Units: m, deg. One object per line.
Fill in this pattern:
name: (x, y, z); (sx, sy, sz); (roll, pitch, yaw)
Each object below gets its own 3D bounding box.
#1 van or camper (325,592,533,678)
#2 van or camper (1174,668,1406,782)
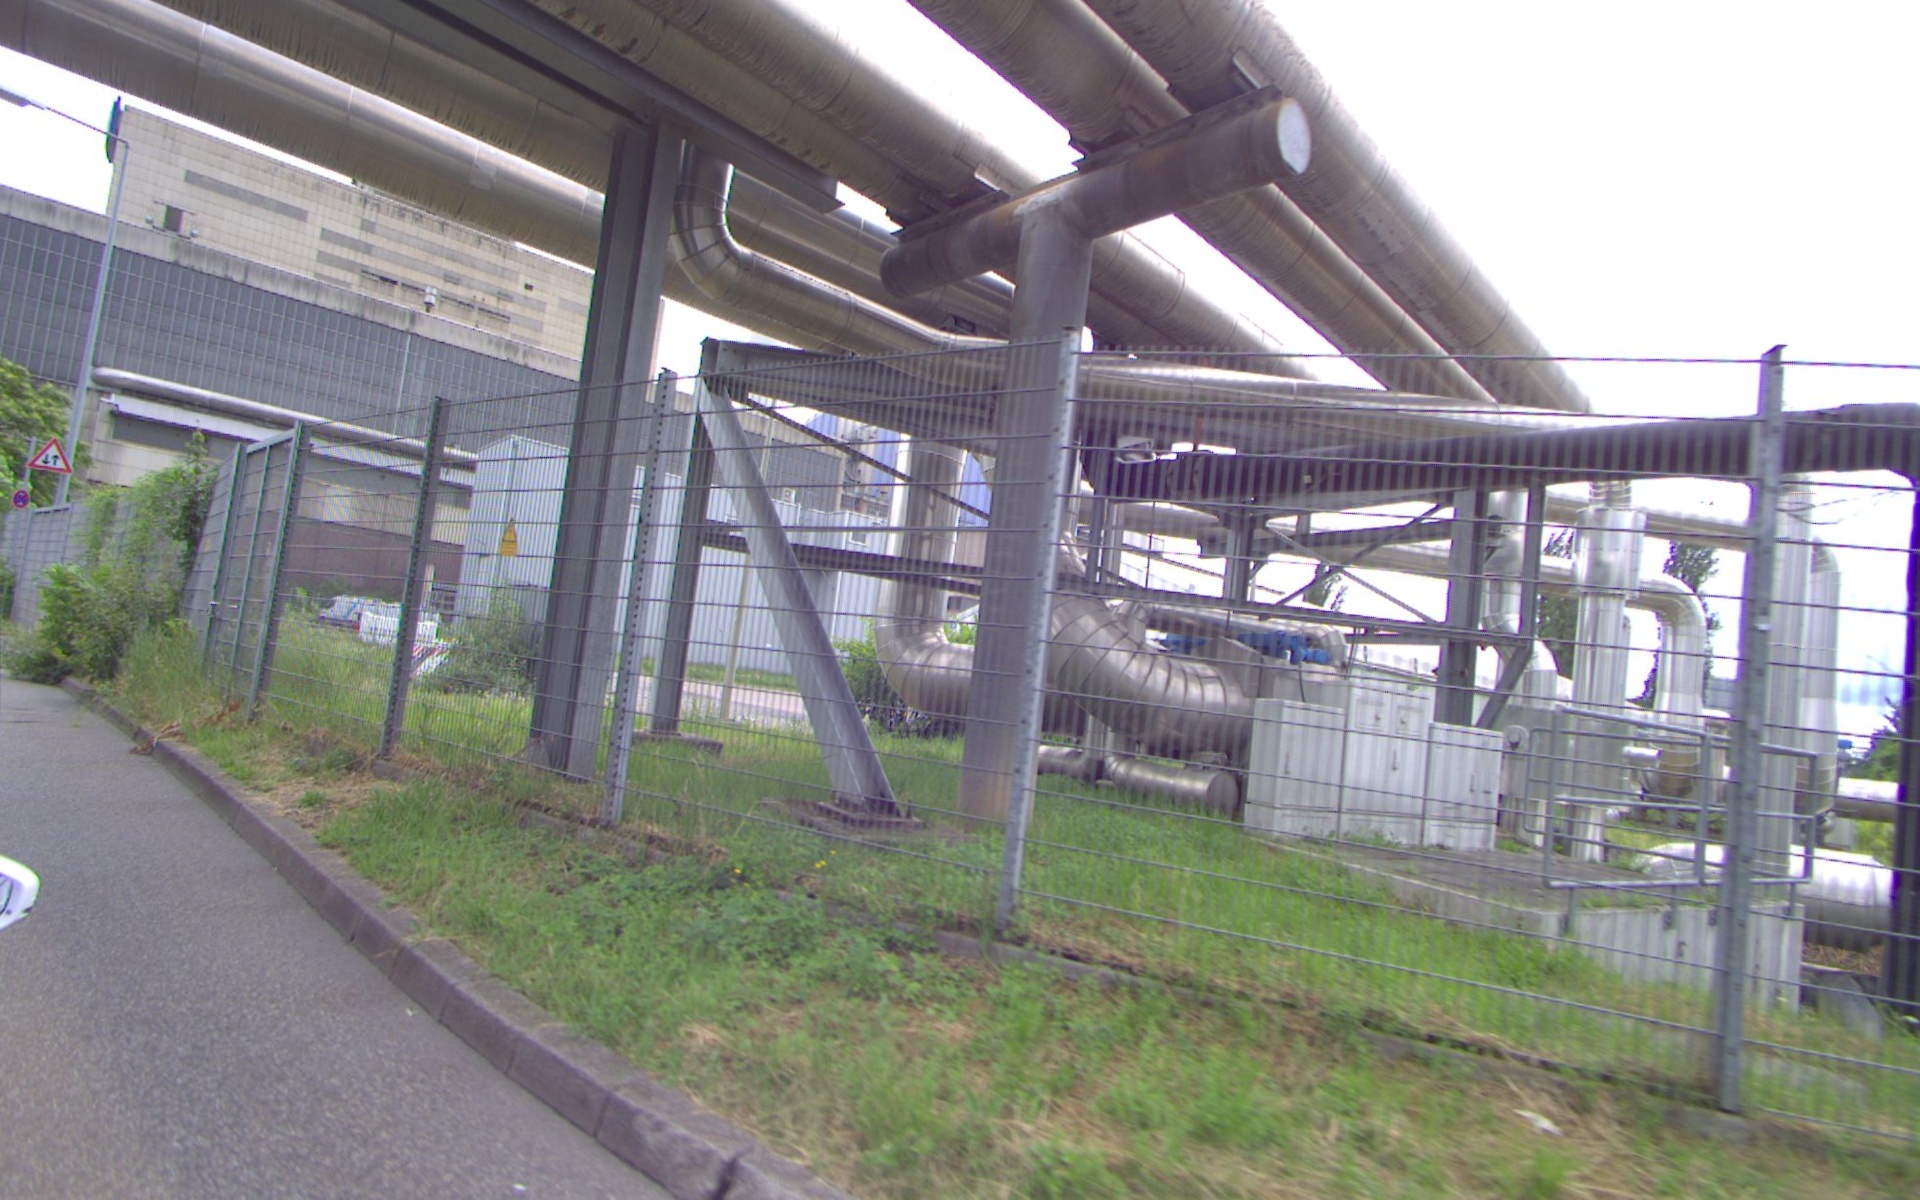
van or camper: (-37.933, 2.655, 72.591); (5.397, 4.575, 11.846); (3, -7, 31)
van or camper: (9.759, 3.666, 30.295); (2.557, 2.575, 6.068); (10, -5, -37)
